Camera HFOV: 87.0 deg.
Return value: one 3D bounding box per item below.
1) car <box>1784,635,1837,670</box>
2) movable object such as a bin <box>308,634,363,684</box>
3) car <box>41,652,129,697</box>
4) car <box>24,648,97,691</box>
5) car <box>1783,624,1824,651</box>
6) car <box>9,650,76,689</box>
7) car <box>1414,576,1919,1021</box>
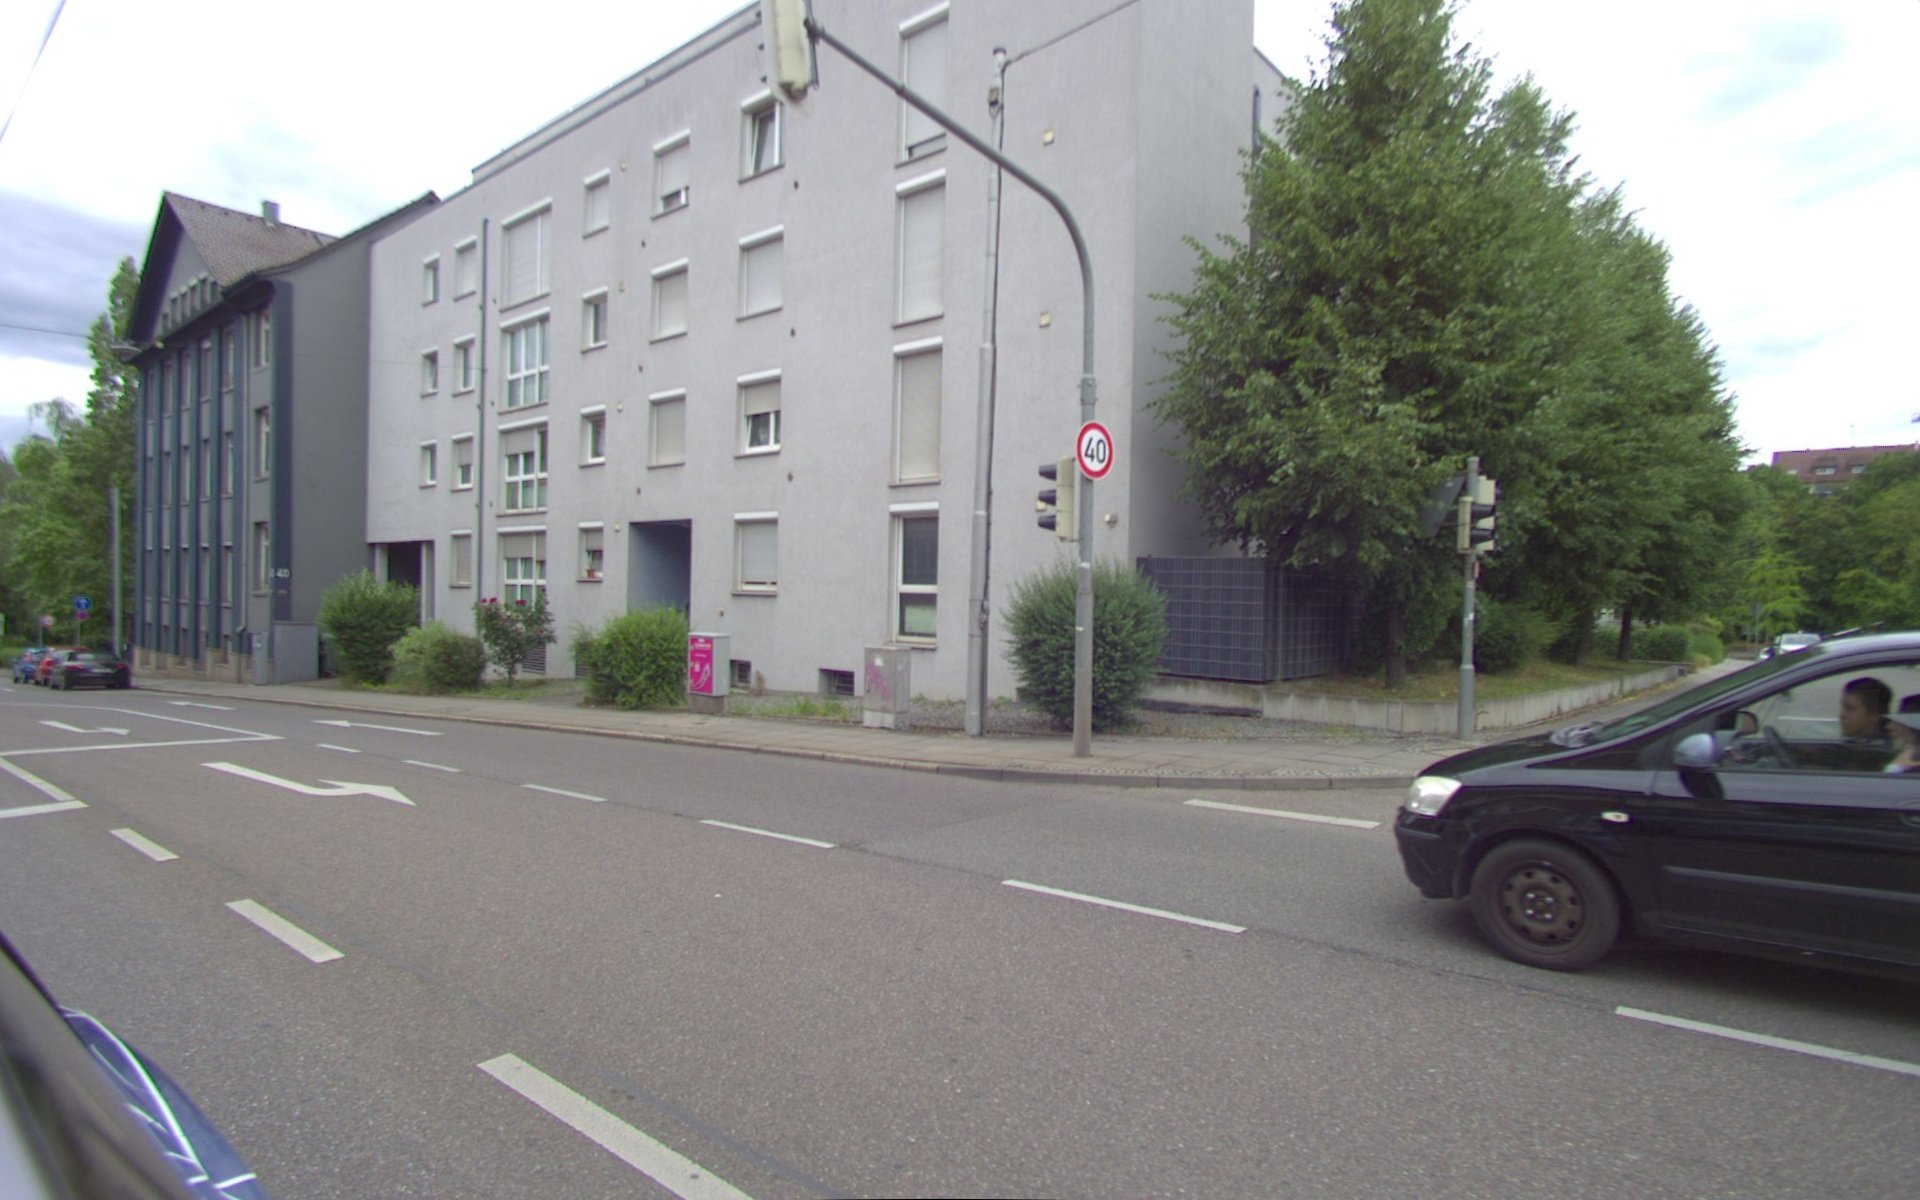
[{"bbox_3d":[37.312,2.273,44.461,1.674,1.372,3.947,-2,-1,39],"label":"car"},{"bbox_3d":[-19.994,1.864,32.392,1.039,1.518,1.213,-2,-1,41],"label":"movable object such as a bin"},{"bbox_3d":[-29.999,2.510,34.659,3.727,1.403,1.778,-2,-2,41],"label":"car"},{"bbox_3d":[-34.559,2.628,38.852,3.727,1.460,1.623,-2,-1,41],"label":"car"},{"bbox_3d":[47.870,2.107,57.481,1.674,1.372,3.947,-2,-1,39],"label":"car"},{"bbox_3d":[-38.336,2.863,42.251,3.727,1.460,1.623,-2,-1,41],"label":"car"},{"bbox_3d":[4.014,0.724,3.988,3.738,1.531,1.646,-2,-5,42],"label":"car"}]
